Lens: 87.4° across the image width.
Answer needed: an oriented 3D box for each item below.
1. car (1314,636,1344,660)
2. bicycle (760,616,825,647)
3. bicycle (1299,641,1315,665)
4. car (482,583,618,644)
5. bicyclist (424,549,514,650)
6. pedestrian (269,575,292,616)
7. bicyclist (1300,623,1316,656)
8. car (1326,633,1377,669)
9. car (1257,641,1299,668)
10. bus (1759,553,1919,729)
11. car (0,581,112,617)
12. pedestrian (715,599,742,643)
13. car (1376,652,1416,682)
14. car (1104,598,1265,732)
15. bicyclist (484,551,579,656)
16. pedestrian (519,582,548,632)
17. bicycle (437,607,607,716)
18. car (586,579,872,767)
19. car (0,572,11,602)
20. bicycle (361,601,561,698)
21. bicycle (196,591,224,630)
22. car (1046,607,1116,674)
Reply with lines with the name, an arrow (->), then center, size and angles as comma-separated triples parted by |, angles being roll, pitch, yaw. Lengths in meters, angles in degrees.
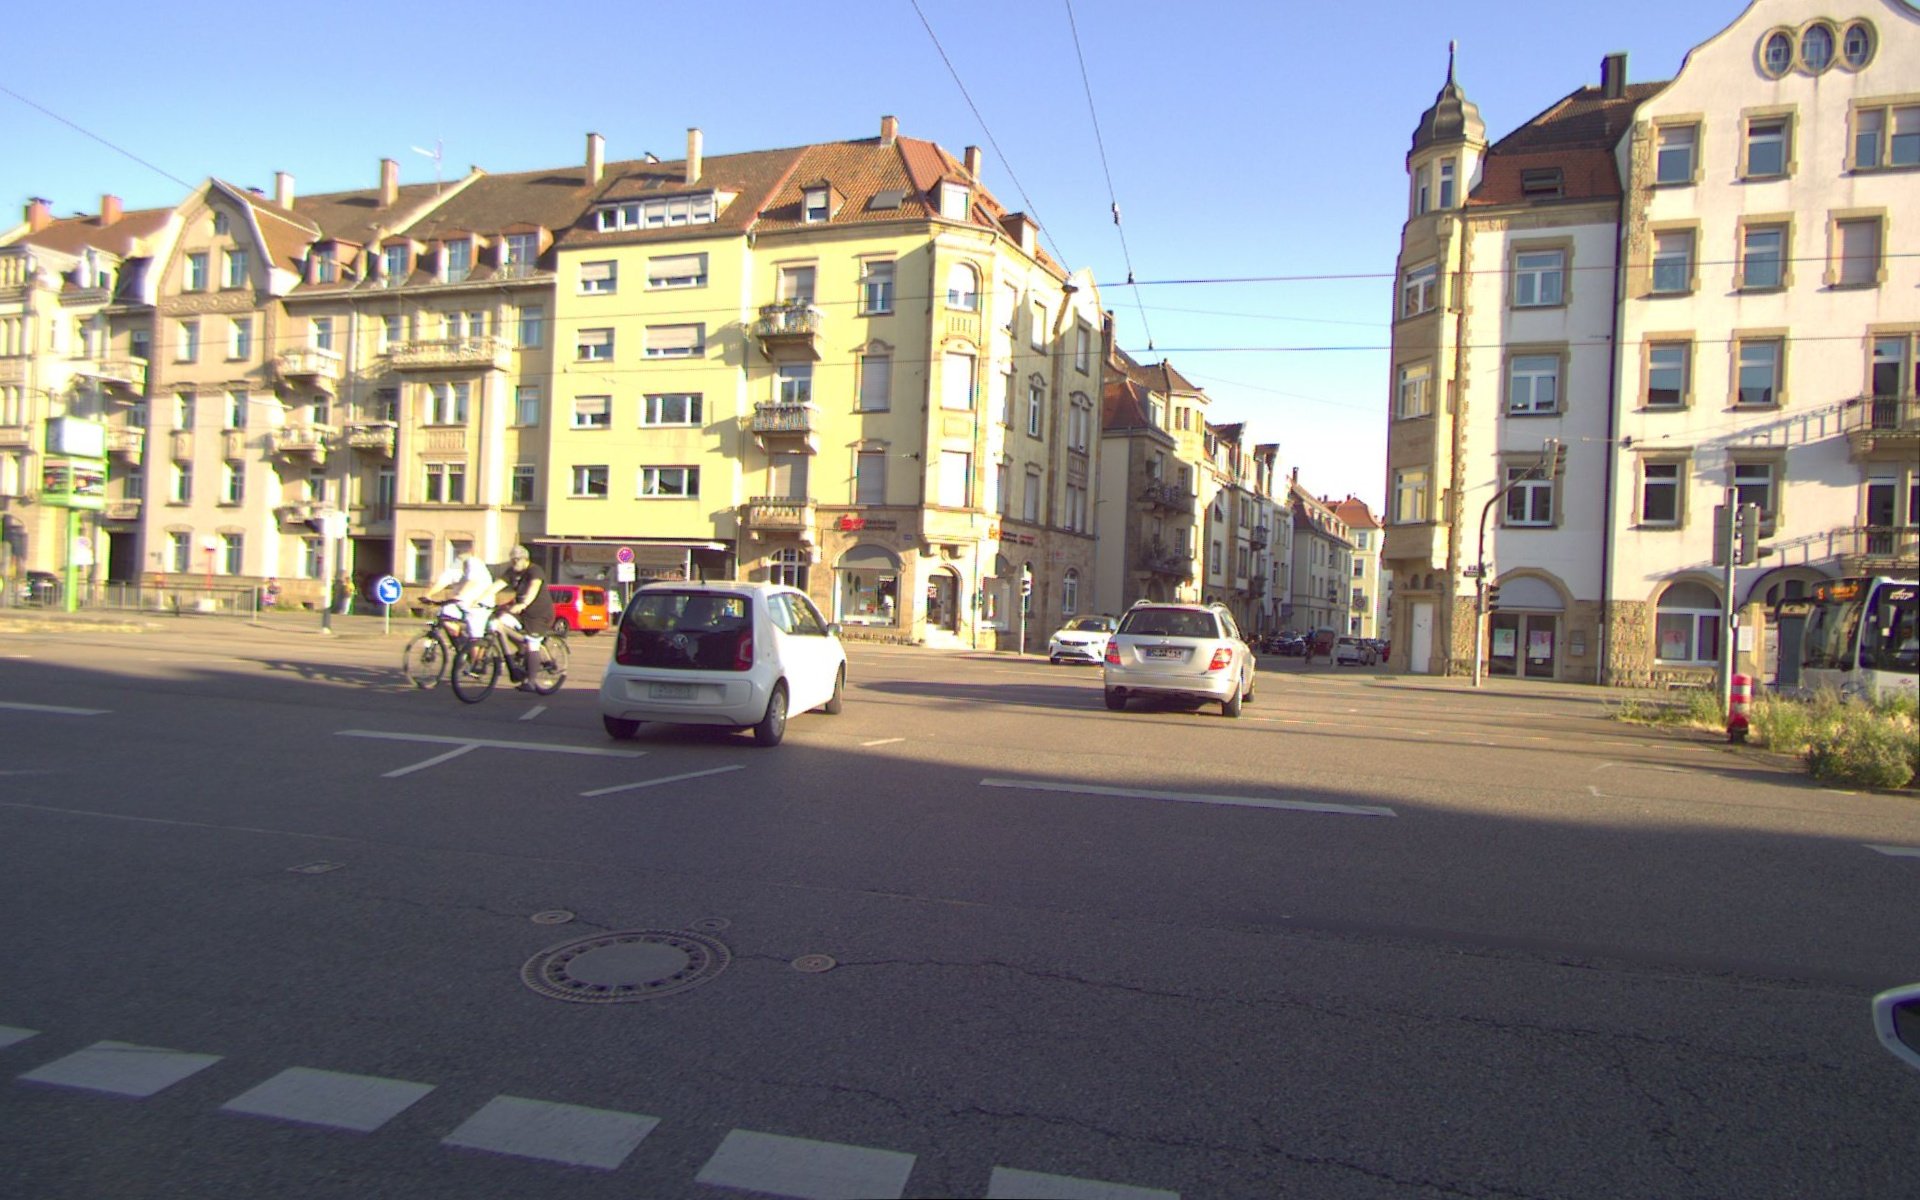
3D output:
car -> 29.656, 3.856, 80.690 | 1.801, 1.769, 3.997 | 3, -1, 26
bicycle -> -6.569, 1.228, 39.408 | 2.452, 1.070, 0.668 | 2, 0, 15
bicycle -> 16.857, 2.559, 48.751 | 0.609, 1.119, 2.552 | 3, -1, 21
car -> -14.857, 0.488, 36.444 | 4.223, 1.924, 1.921 | 3, -1, 18
bicyclist -> -6.442, 0.001, 13.204 | 0.648, 1.252, 0.767 | 3, 0, 21
pedestrian -> -31.965, -0.208, 47.242 | 0.467, 1.861, 0.641 | 3, 0, 20
bicyclist -> 16.843, 1.903, 48.605 | 0.600, 1.513, 0.767 | 3, 0, 21
car -> 19.864, 2.580, 50.845 | 1.803, 1.636, 3.993 | 3, -1, 30
car -> 21.570, 3.679, 68.003 | 1.803, 1.636, 3.993 | 3, -1, 30
bus -> 22.762, 1.060, 20.290 | 9.702, 3.418, 3.277 | 3, -1, 18
car -> -42.249, -0.024, 46.837 | 1.909, 1.483, 3.708 | 3, -1, 13
pedestrian -> -9.043, 0.816, 39.181 | 0.755, 1.662, 0.631 | 2, 0, 16
car -> 28.245, 4.322, 64.988 | 1.804, 1.728, 3.992 | 3, -1, 32
car -> 3.260, 0.770, 13.981 | 1.703, 1.497, 4.172 | 3, 1, 19
bicyclist -> -5.028, 0.044, 11.812 | 0.600, 1.173, 0.767 | 3, 0, 21
pedestrian -> -17.774, 0.312, 41.863 | 0.656, 2.040, 0.768 | 2, 0, 26
bicycle -> -5.064, 0.662, 11.761 | 0.640, 1.120, 1.924 | 3, 1, 21
car -> -2.153, 0.594, 10.463 | 1.703, 1.500, 3.816 | 3, 1, 6
car -> -48.997, -0.729, 48.780 | 1.909, 1.483, 3.708 | 3, -1, 13
bicycle -> -6.464, 0.625, 13.223 | 0.640, 1.119, 2.552 | 3, -1, 21
bicycle -> -34.725, 0.498, 46.508 | 0.871, 1.760, 0.560 | 3, 0, 21
car -> 3.513, 1.147, 29.750 | 1.799, 1.728, 4.002 | 3, -1, 4
